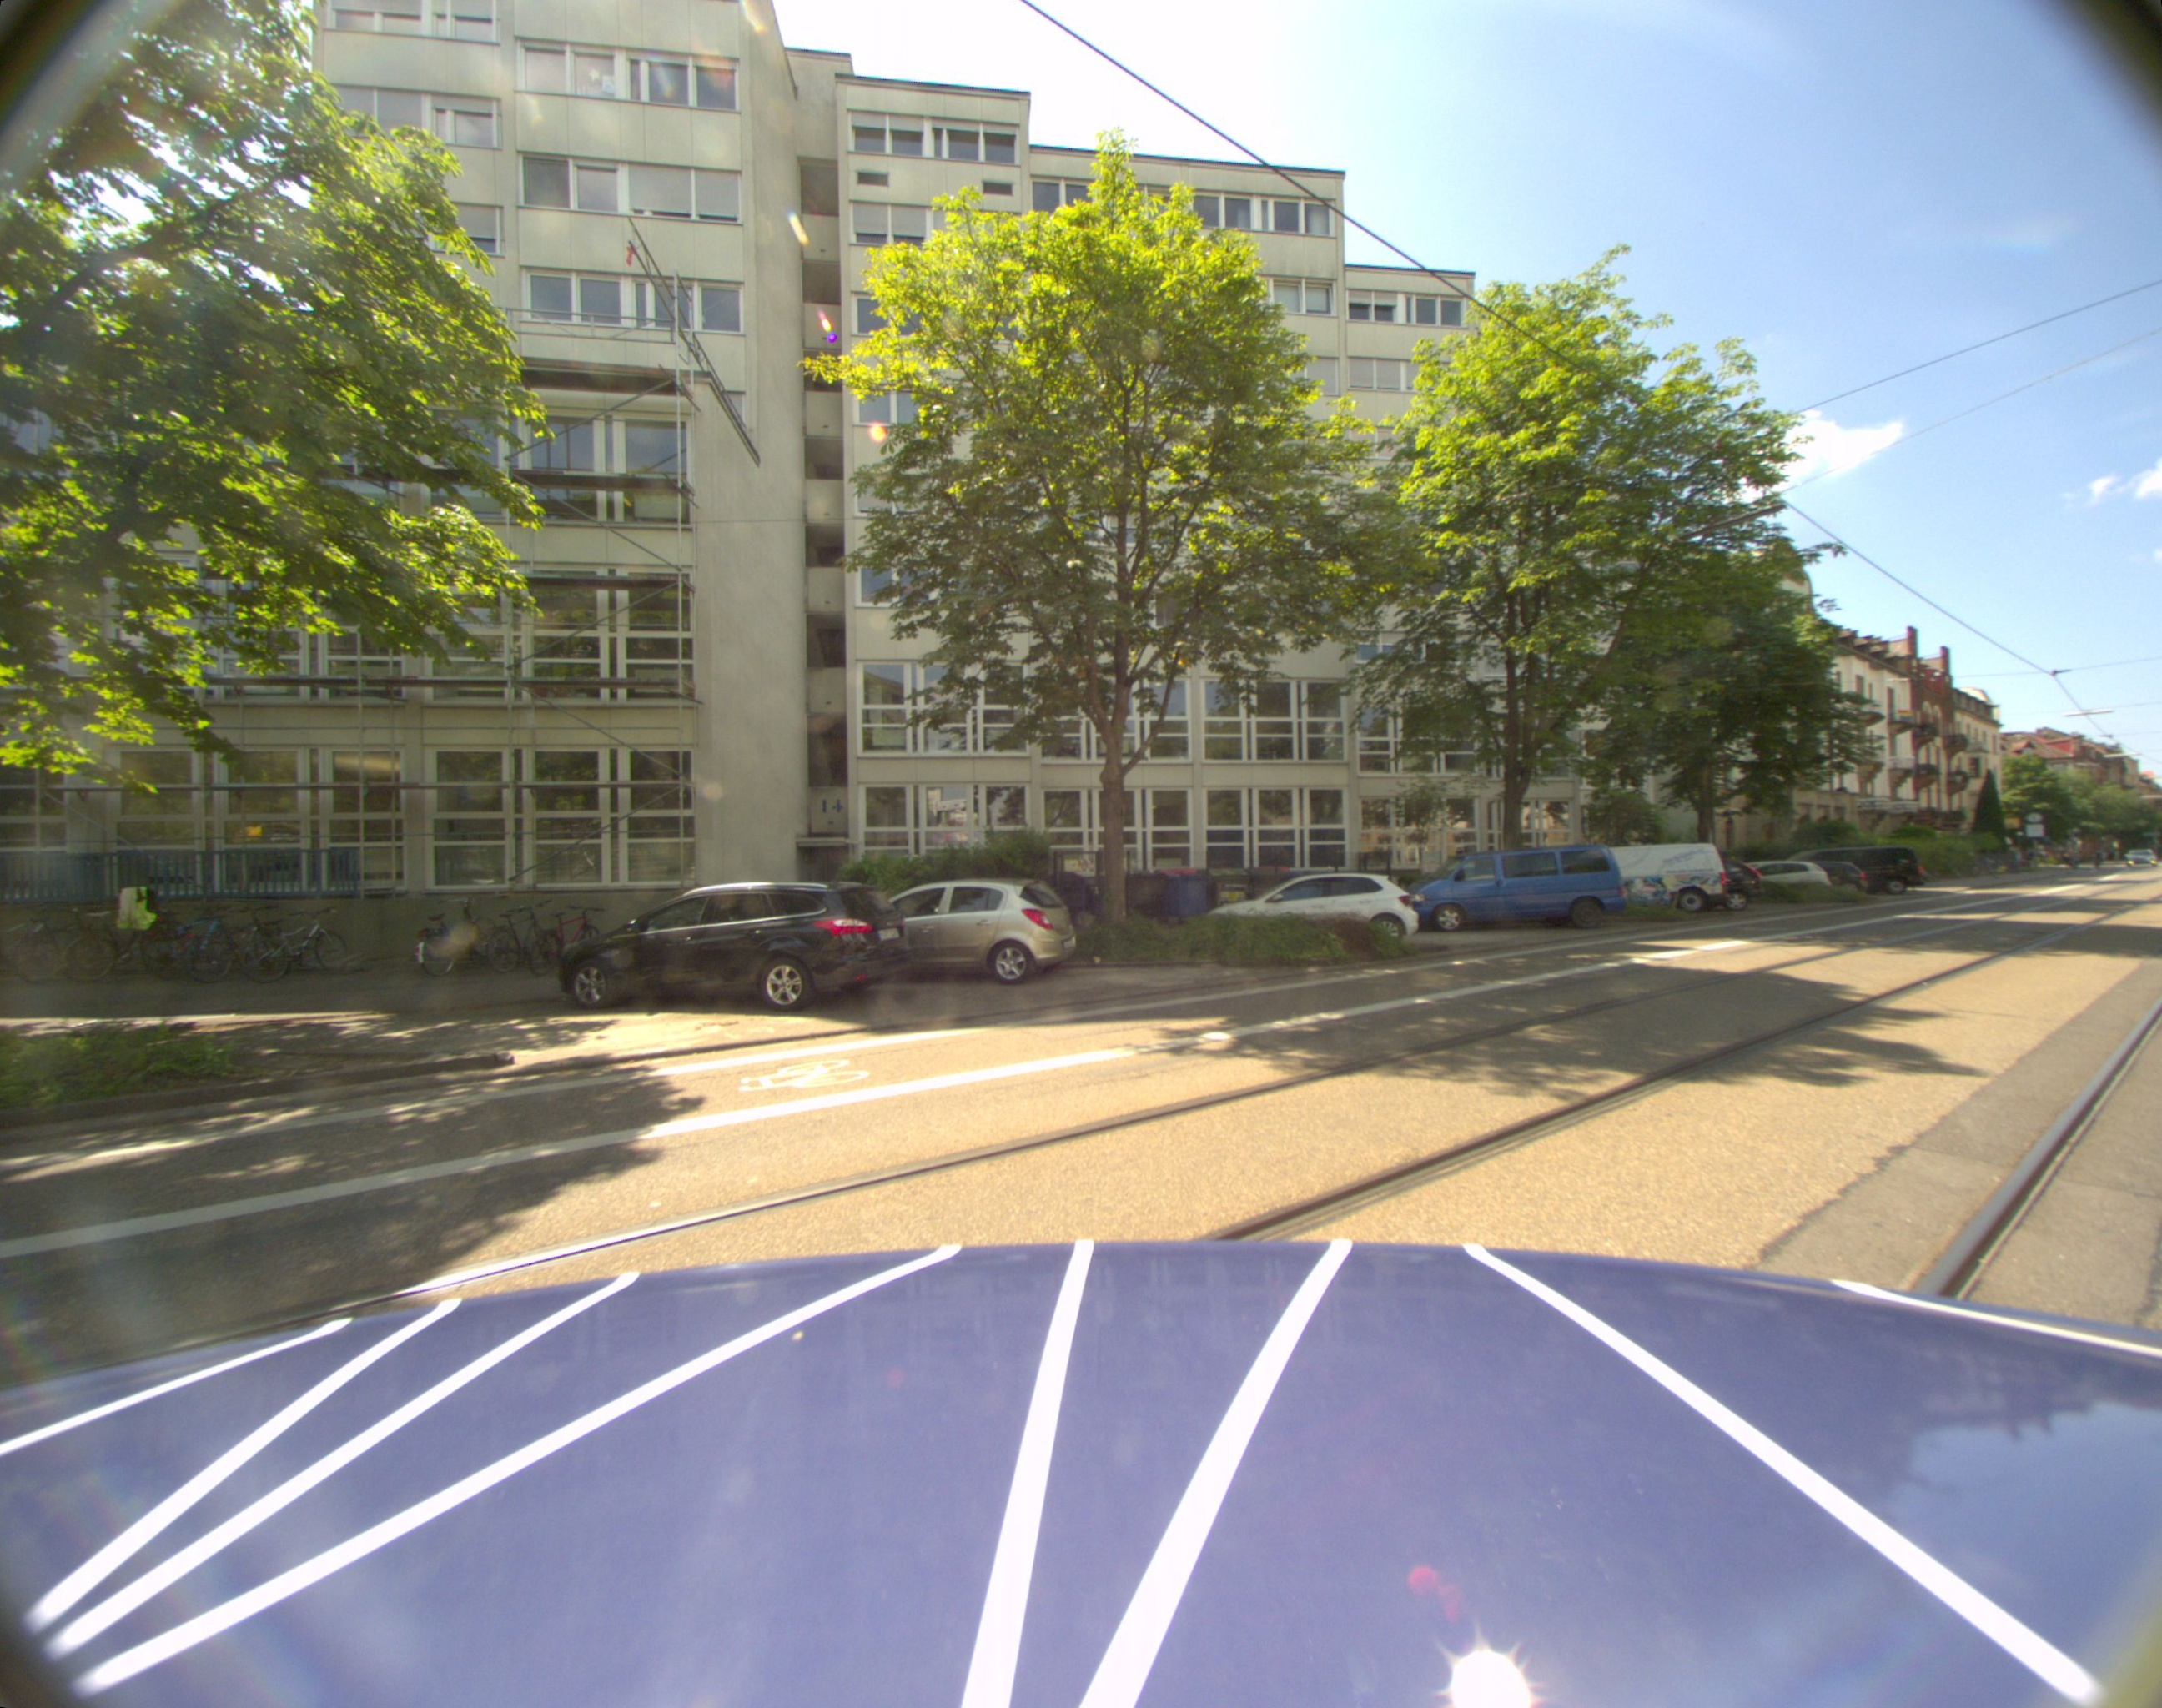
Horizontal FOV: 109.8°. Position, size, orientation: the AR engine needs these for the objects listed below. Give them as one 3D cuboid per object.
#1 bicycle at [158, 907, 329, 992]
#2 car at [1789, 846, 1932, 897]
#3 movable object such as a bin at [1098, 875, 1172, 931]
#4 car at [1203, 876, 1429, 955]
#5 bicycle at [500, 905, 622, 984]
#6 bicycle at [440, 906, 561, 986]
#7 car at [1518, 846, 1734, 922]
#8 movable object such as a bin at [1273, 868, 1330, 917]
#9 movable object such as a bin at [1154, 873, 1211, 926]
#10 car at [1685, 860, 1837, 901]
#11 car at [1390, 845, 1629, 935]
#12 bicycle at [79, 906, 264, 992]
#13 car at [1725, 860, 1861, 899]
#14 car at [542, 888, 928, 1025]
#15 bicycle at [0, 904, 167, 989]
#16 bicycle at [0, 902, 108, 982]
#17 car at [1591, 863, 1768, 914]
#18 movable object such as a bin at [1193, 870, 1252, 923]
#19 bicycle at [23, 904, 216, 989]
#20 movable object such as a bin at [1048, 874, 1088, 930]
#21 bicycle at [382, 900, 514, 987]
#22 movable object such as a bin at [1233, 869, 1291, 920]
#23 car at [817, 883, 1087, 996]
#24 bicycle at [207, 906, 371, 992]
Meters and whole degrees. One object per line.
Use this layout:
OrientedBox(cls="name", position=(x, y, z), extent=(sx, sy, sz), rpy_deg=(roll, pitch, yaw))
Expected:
OrientedBox(cls="bicycle", position=(-13.111, 1.448, 11.994), extent=(0.568, 1.123, 1.944), rpy_deg=(-1, -1, -1))
OrientedBox(cls="car", position=(32.760, 0.751, 32.120), extent=(3.989, 2.001, 2.004), rpy_deg=(-2, -1, 40))
OrientedBox(cls="movable object such as a bin", position=(1.359, 1.203, 19.145), extent=(1.454, 1.322, 1.124), rpy_deg=(-1, -1, -31))
OrientedBox(cls="car", position=(4.437, 1.171, 14.842), extent=(3.975, 1.405, 1.717), rpy_deg=(-1, -1, 11))
OrientedBox(cls="bicycle", position=(-8.790, 1.487, 12.970), extent=(0.568, 1.123, 2.235), rpy_deg=(-1, -1, -1))
OrientedBox(cls="bicycle", position=(-9.693, 1.499, 12.790), extent=(0.568, 1.123, 1.944), rpy_deg=(-1, -1, -1))
OrientedBox(cls="car", position=(15.306, 0.866, 21.689), extent=(4.620, 2.001, 2.003), rpy_deg=(-2, -1, 20))
OrientedBox(cls="movable object such as a bin", position=(6.481, 1.118, 22.394), extent=(1.183, 1.390, 1.036), rpy_deg=(-1, -1, -24))
OrientedBox(cls="movable object such as a bin", position=(2.662, 1.191, 20.038), extent=(1.079, 1.322, 0.969), rpy_deg=(-1, -1, -31))
OrientedBox(cls="car", position=(26.065, 1.003, 29.267), extent=(3.993, 1.379, 1.752), rpy_deg=(1, 1, 11))
OrientedBox(cls="car", position=(10.110, 0.867, 18.338), extent=(4.623, 2.001, 2.002), rpy_deg=(-1, -1, 12))
OrientedBox(cls="bicycle", position=(-14.096, 1.429, 11.870), extent=(0.568, 1.123, 1.944), rpy_deg=(-1, -1, -1))
OrientedBox(cls="car", position=(29.283, 1.051, 31.453), extent=(3.989, 1.499, 1.953), rpy_deg=(-2, -1, 40))
OrientedBox(cls="car", position=(-4.268, 1.208, 9.622), extent=(4.190, 1.461, 1.756), rpy_deg=(-1, -1, 11))
OrientedBox(cls="bicycle", position=(-15.616, 1.383, 11.809), extent=(0.568, 1.123, 1.927), rpy_deg=(-1, -1, -4))
OrientedBox(cls="bicycle", position=(-16.380, 1.350, 11.633), extent=(0.568, 1.123, 1.927), rpy_deg=(-1, -1, -4))
OrientedBox(cls="car", position=(18.335, 1.055, 23.508), extent=(3.990, 1.477, 1.674), rpy_deg=(-2, -1, 23))
OrientedBox(cls="movable object such as a bin", position=(3.900, 1.149, 20.955), extent=(1.183, 1.390, 1.036), rpy_deg=(-1, -1, -24))
OrientedBox(cls="bicycle", position=(-14.844, 1.386, 11.826), extent=(0.568, 1.123, 1.928), rpy_deg=(-1, -1, -1))
OrientedBox(cls="movable object such as a bin", position=(-0.335, 1.225, 19.668), extent=(0.804, 1.397, 0.766), rpy_deg=(-1, -1, -19))
OrientedBox(cls="bicycle", position=(-10.421, 1.430, 12.607), extent=(0.568, 1.230, 1.944), rpy_deg=(-1, -1, -1))
OrientedBox(cls="movable object such as a bin", position=(5.140, 1.134, 21.649), extent=(1.183, 1.390, 1.036), rpy_deg=(-1, -1, -24))
OrientedBox(cls="car", position=(-1.826, 1.210, 11.296), extent=(3.534, 1.453, 1.756), rpy_deg=(-1, -1, 11))
OrientedBox(cls="bicycle", position=(-12.320, 1.436, 11.918), extent=(0.568, 1.123, 1.944), rpy_deg=(-1, -1, -1))
